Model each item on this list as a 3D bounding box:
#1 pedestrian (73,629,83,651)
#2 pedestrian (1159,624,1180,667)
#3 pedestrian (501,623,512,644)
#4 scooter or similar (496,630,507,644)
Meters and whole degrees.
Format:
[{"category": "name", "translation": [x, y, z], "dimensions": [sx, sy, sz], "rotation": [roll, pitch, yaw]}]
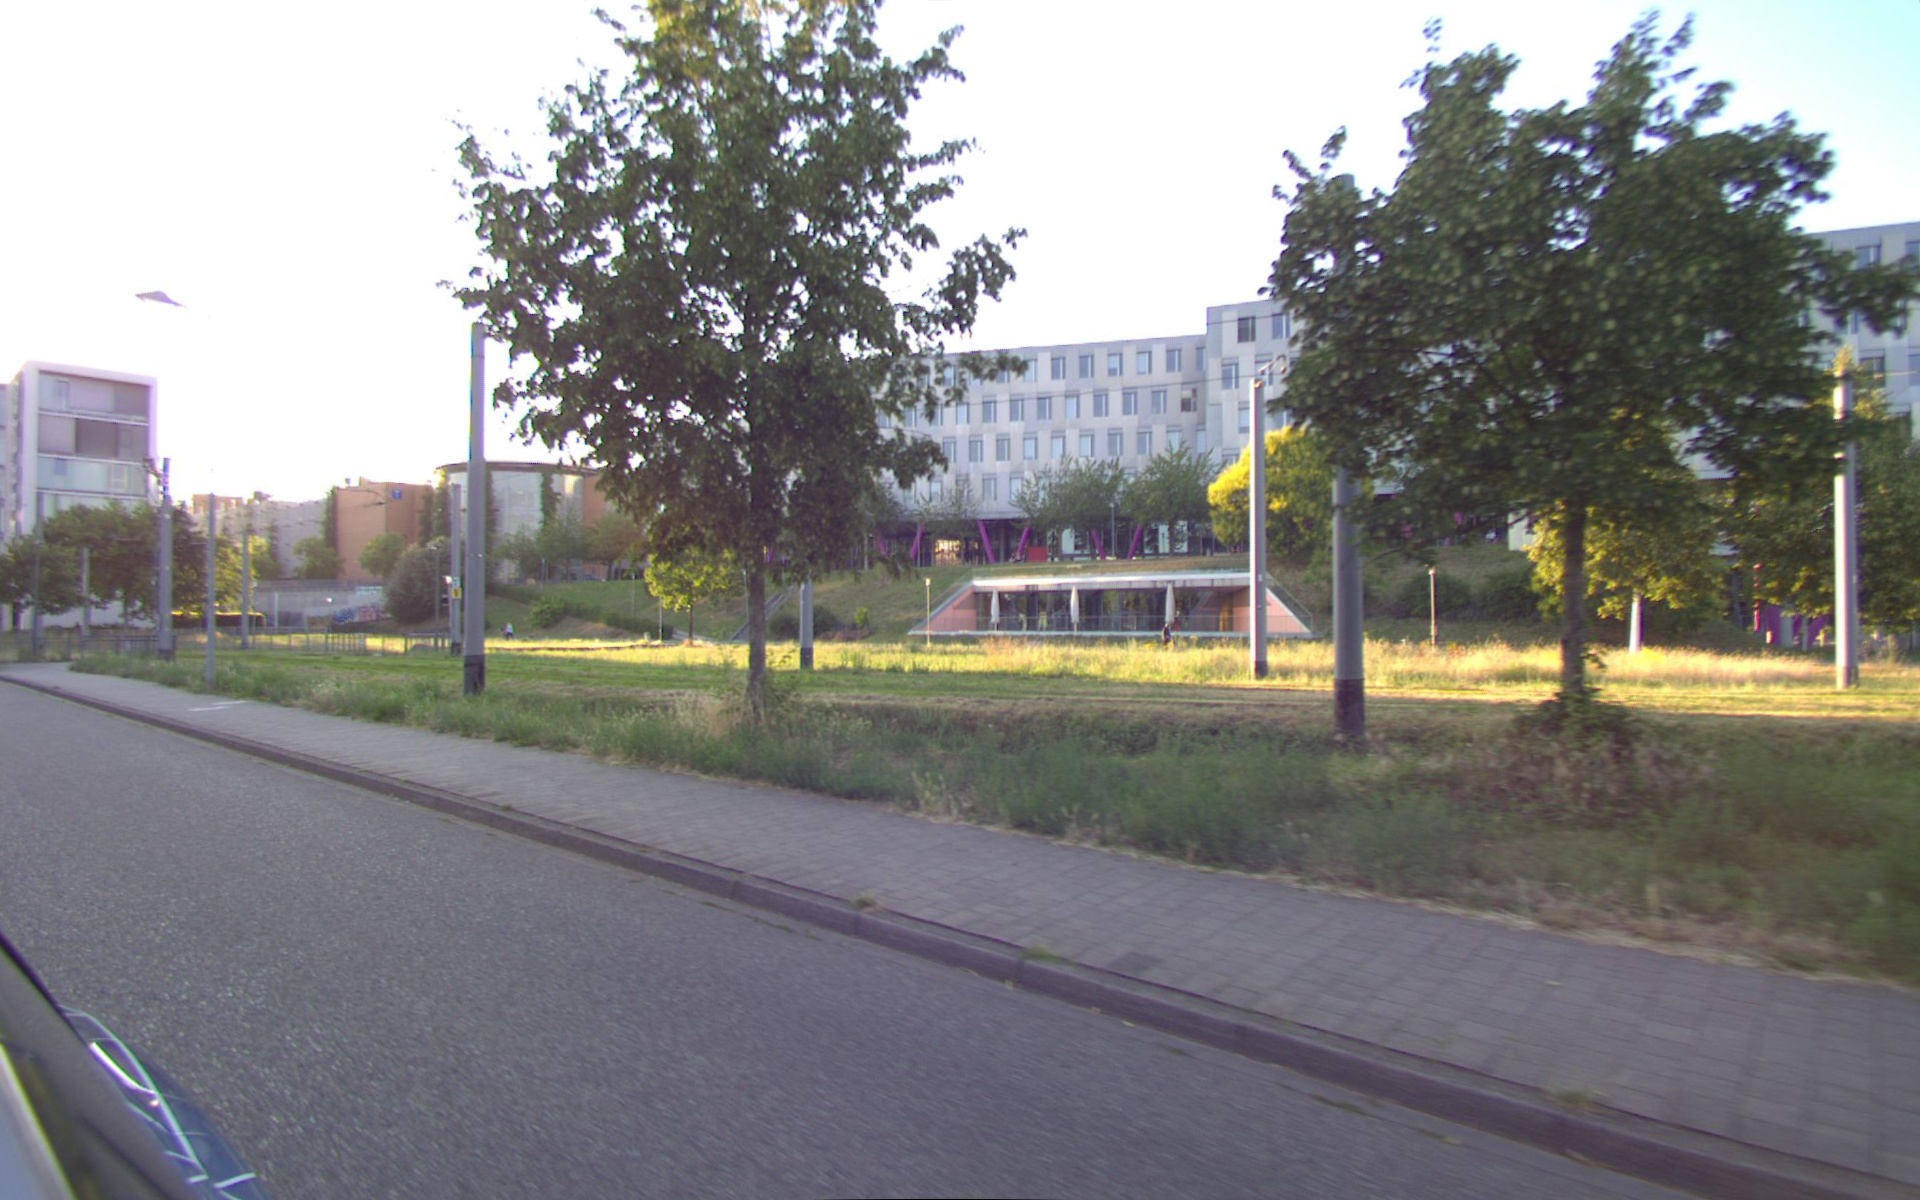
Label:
[{"category": "pedestrian", "translation": [-76.017, 3.428, 87.245], "dimensions": [0.480, 1.850, 0.446], "rotation": [-2, 0, 20]}, {"category": "pedestrian", "translation": [10.630, 2.298, 51.298], "dimensions": [0.790, 2.098, 0.610], "rotation": [-2, 0, 40]}, {"category": "pedestrian", "translation": [-40.304, 2.968, 89.991], "dimensions": [0.790, 1.850, 0.610], "rotation": [-2, 0, 40]}, {"category": "scooter or similar", "translation": [-41.146, 3.342, 90.763], "dimensions": [0.790, 1.253, 0.610], "rotation": [-2, 0, 40]}]
